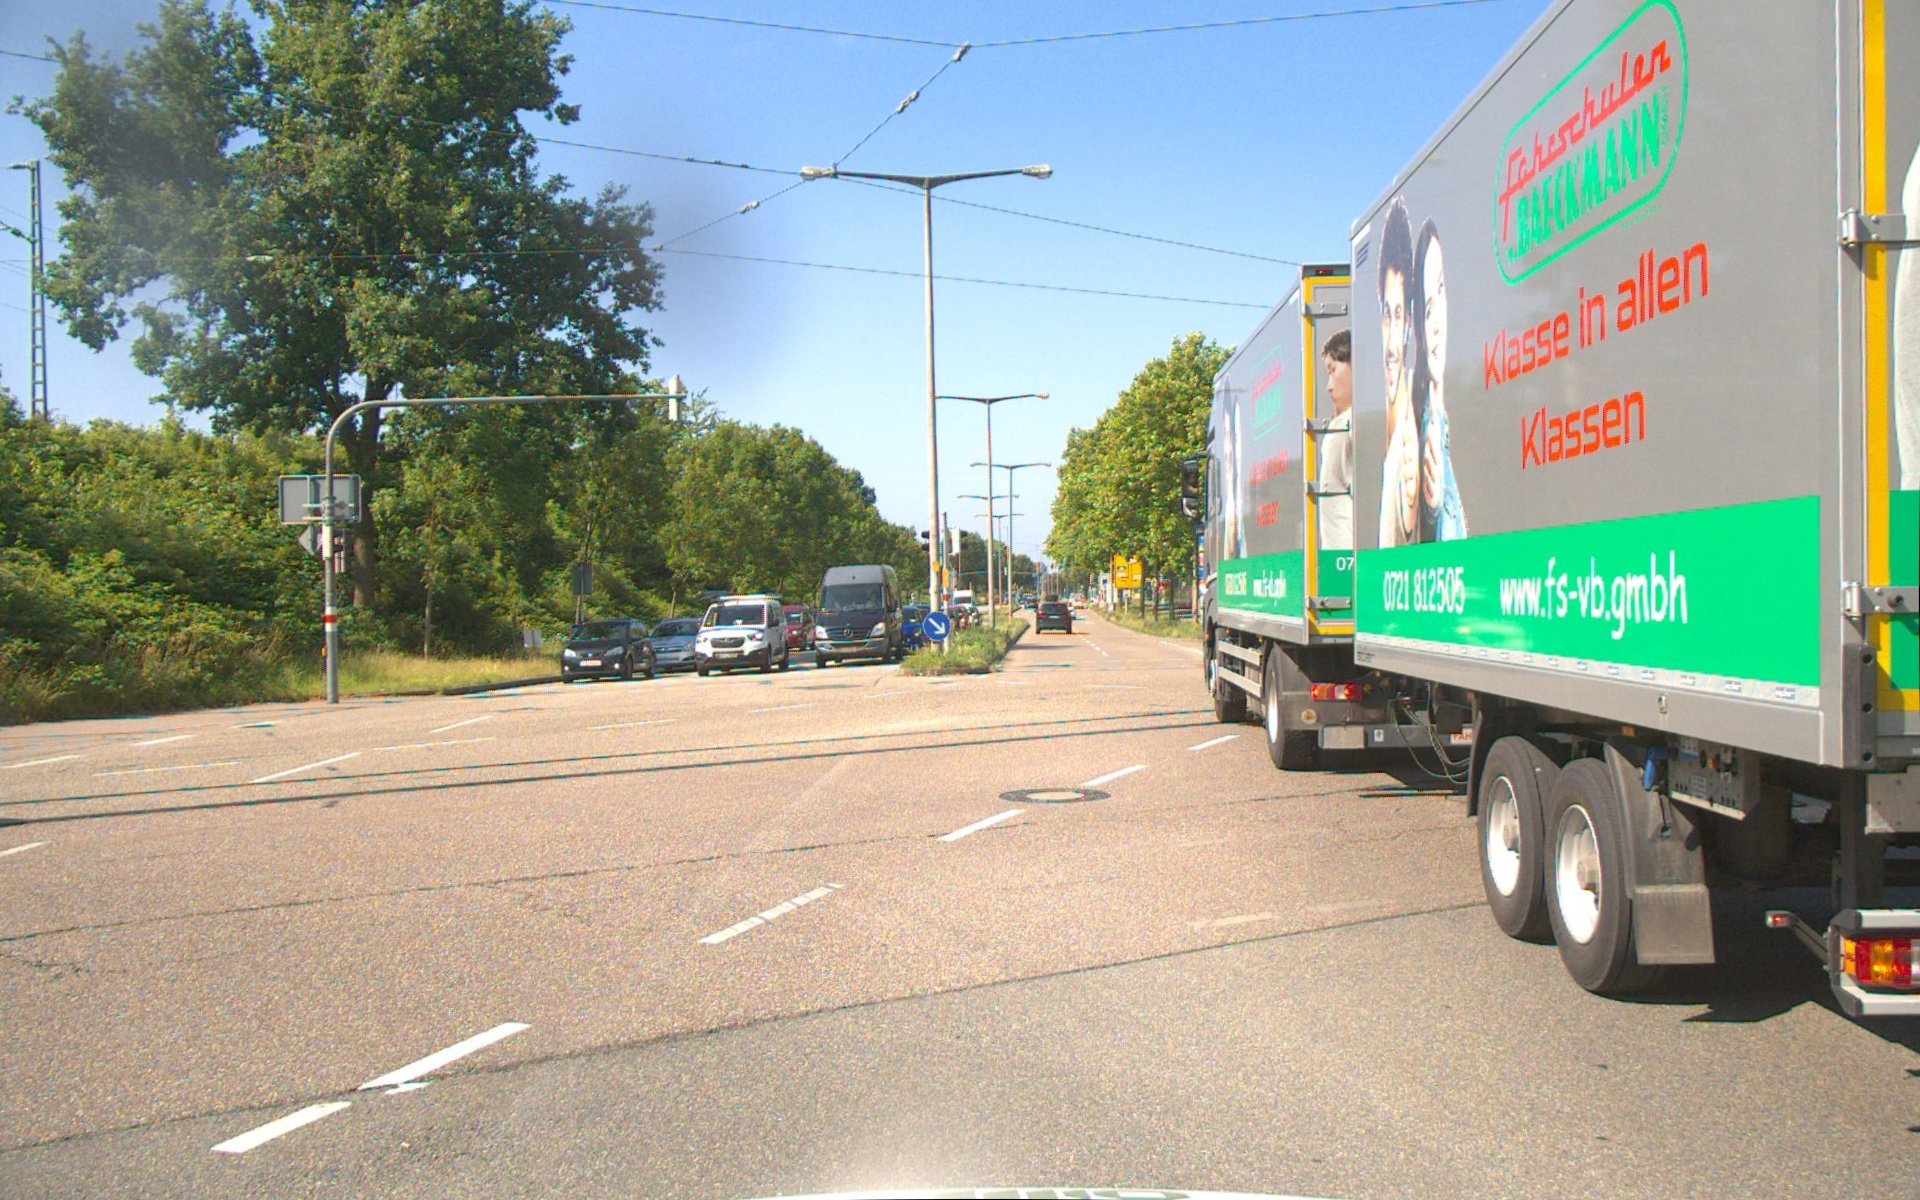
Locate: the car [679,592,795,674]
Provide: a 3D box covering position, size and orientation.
[{"bbox_3d":[-5.517,0.809,41.496,1.952,1.903,4.775,-1,-1,3],"label":"car"}]

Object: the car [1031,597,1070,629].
[{"bbox_3d":[4.763,0.686,86.702,1.952,1.613,4.458,1,-1,4],"label":"car"}]

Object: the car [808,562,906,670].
[{"bbox_3d":[-2.671,0.439,44.162,1.952,2.653,5.135,-1,-1,3],"label":"car"}]

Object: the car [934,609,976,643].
[{"bbox_3d":[-0.219,1.354,85.572,1.952,1.669,4.001,1,-1,3],"label":"car"}]

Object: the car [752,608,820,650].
[{"bbox_3d":[-6.907,1.148,66.207,1.952,1.613,4.458,1,-1,4],"label":"car"}]

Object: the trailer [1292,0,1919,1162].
[{"bbox_3d":[3.499,-0.674,7.567,2.679,3.945,7.737,-1,-1,2],"label":"trailer"}]

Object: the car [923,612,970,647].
[{"bbox_3d":[-0.643,1.429,79.994,1.952,1.613,4.002,1,-1,4],"label":"car"}]

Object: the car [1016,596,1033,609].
[{"bbox_3d":[8.108,0.339,207.783,1.952,1.613,4.458,1,-1,4],"label":"car"}]

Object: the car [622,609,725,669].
[{"bbox_3d":[-8.082,1.092,47.075,1.952,1.567,4.238,-1,-1,3],"label":"car"}]

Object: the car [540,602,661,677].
[{"bbox_3d":[-8.583,0.926,39.796,1.871,1.670,3.738,-1,-1,3],"label":"car"}]

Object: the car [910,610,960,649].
[{"bbox_3d":[-1.089,1.323,74.243,1.952,1.669,4.001,1,-1,3],"label":"car"}]

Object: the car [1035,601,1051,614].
[{"bbox_3d":[10.448,0.974,207.692,1.952,1.613,4.458,1,-1,4],"label":"car"}]

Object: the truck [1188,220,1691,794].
[{"bbox_3d":[3.908,-0.583,15.802,2.672,3.958,8.725,0,-1,3],"label":"truck"}]

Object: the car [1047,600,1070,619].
[{"bbox_3d":[8.458,0.845,142.165,1.952,1.613,4.458,1,-1,4],"label":"car"}]

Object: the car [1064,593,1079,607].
[{"bbox_3d":[14.599,0.006,216.113,1.952,1.613,4.458,1,-1,4],"label":"car"}]

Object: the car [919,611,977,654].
[{"bbox_3d":[-0.424,1.250,64.745,1.952,1.613,4.002,1,-1,4],"label":"car"}]

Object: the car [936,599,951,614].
[{"bbox_3d":[-2.273,0.938,229.368,1.849,2.049,4.001,1,-1,3],"label":"car"}]

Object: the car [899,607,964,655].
[{"bbox_3d":[-0.988,1.096,58.833,1.952,1.613,4.002,1,-1,4],"label":"car"}]

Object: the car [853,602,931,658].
[{"bbox_3d":[-2.056,0.917,51.240,1.952,1.613,4.002,-2,-1,4],"label":"car"}]
